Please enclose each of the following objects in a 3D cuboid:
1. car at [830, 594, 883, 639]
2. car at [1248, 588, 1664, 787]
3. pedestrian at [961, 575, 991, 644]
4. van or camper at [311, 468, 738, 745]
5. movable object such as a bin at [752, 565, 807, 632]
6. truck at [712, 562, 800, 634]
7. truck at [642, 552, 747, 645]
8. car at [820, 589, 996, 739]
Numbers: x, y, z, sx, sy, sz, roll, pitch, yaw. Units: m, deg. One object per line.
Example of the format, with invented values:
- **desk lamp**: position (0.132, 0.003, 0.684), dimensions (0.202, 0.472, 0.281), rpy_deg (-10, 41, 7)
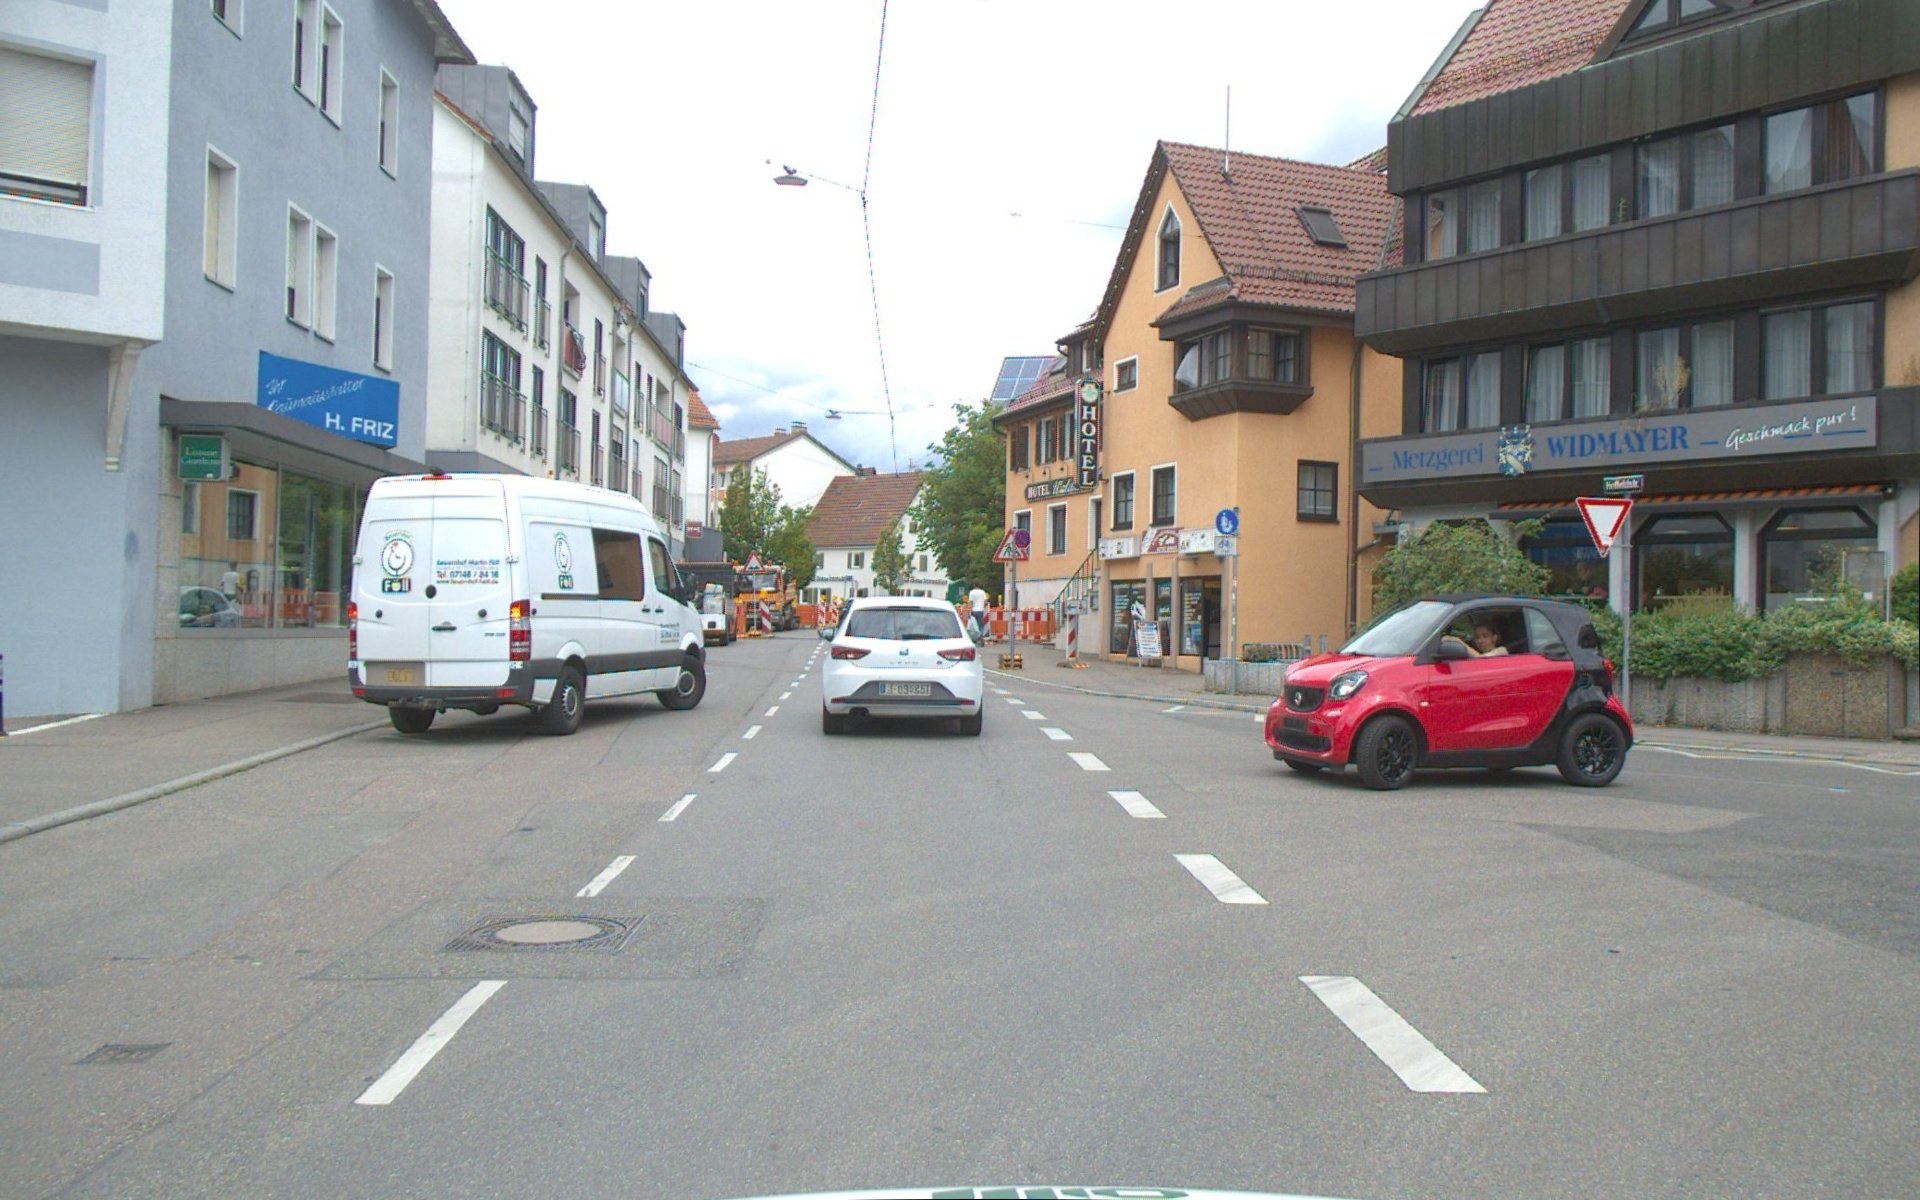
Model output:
- **car**: position (-3.628, 0.565, 57.972), dimensions (1.776, 1.506, 3.867), rpy_deg (0, 0, -4)
- **car**: position (4.142, 0.680, 14.037), dimensions (2.879, 1.547, 1.814), rpy_deg (0, 0, -13)
- **pedestrian**: position (0.453, 0.274, 48.211), dimensions (0.782, 1.984, 0.835), rpy_deg (0, 0, -6)
- **van or camper**: position (-4.659, 0.038, 19.089), dimensions (2.269, 2.653, 6.213), rpy_deg (0, 0, 11)
- **movable object such as a bin**: position (-7.984, -0.025, 73.558), dimensions (1.801, 2.812, 4.506), rpy_deg (1, -1, 2)
- **truck**: position (-8.232, -0.078, 67.492), dimensions (2.675, 2.772, 6.848), rpy_deg (1, 0, 0)
- **truck**: position (-7.565, -0.058, 47.765), dimensions (2.365, 2.509, 6.303), rpy_deg (0, 0, -4)
- **car**: position (-0.630, 0.642, 18.718), dimensions (1.775, 1.506, 3.868), rpy_deg (0, 0, -3)
